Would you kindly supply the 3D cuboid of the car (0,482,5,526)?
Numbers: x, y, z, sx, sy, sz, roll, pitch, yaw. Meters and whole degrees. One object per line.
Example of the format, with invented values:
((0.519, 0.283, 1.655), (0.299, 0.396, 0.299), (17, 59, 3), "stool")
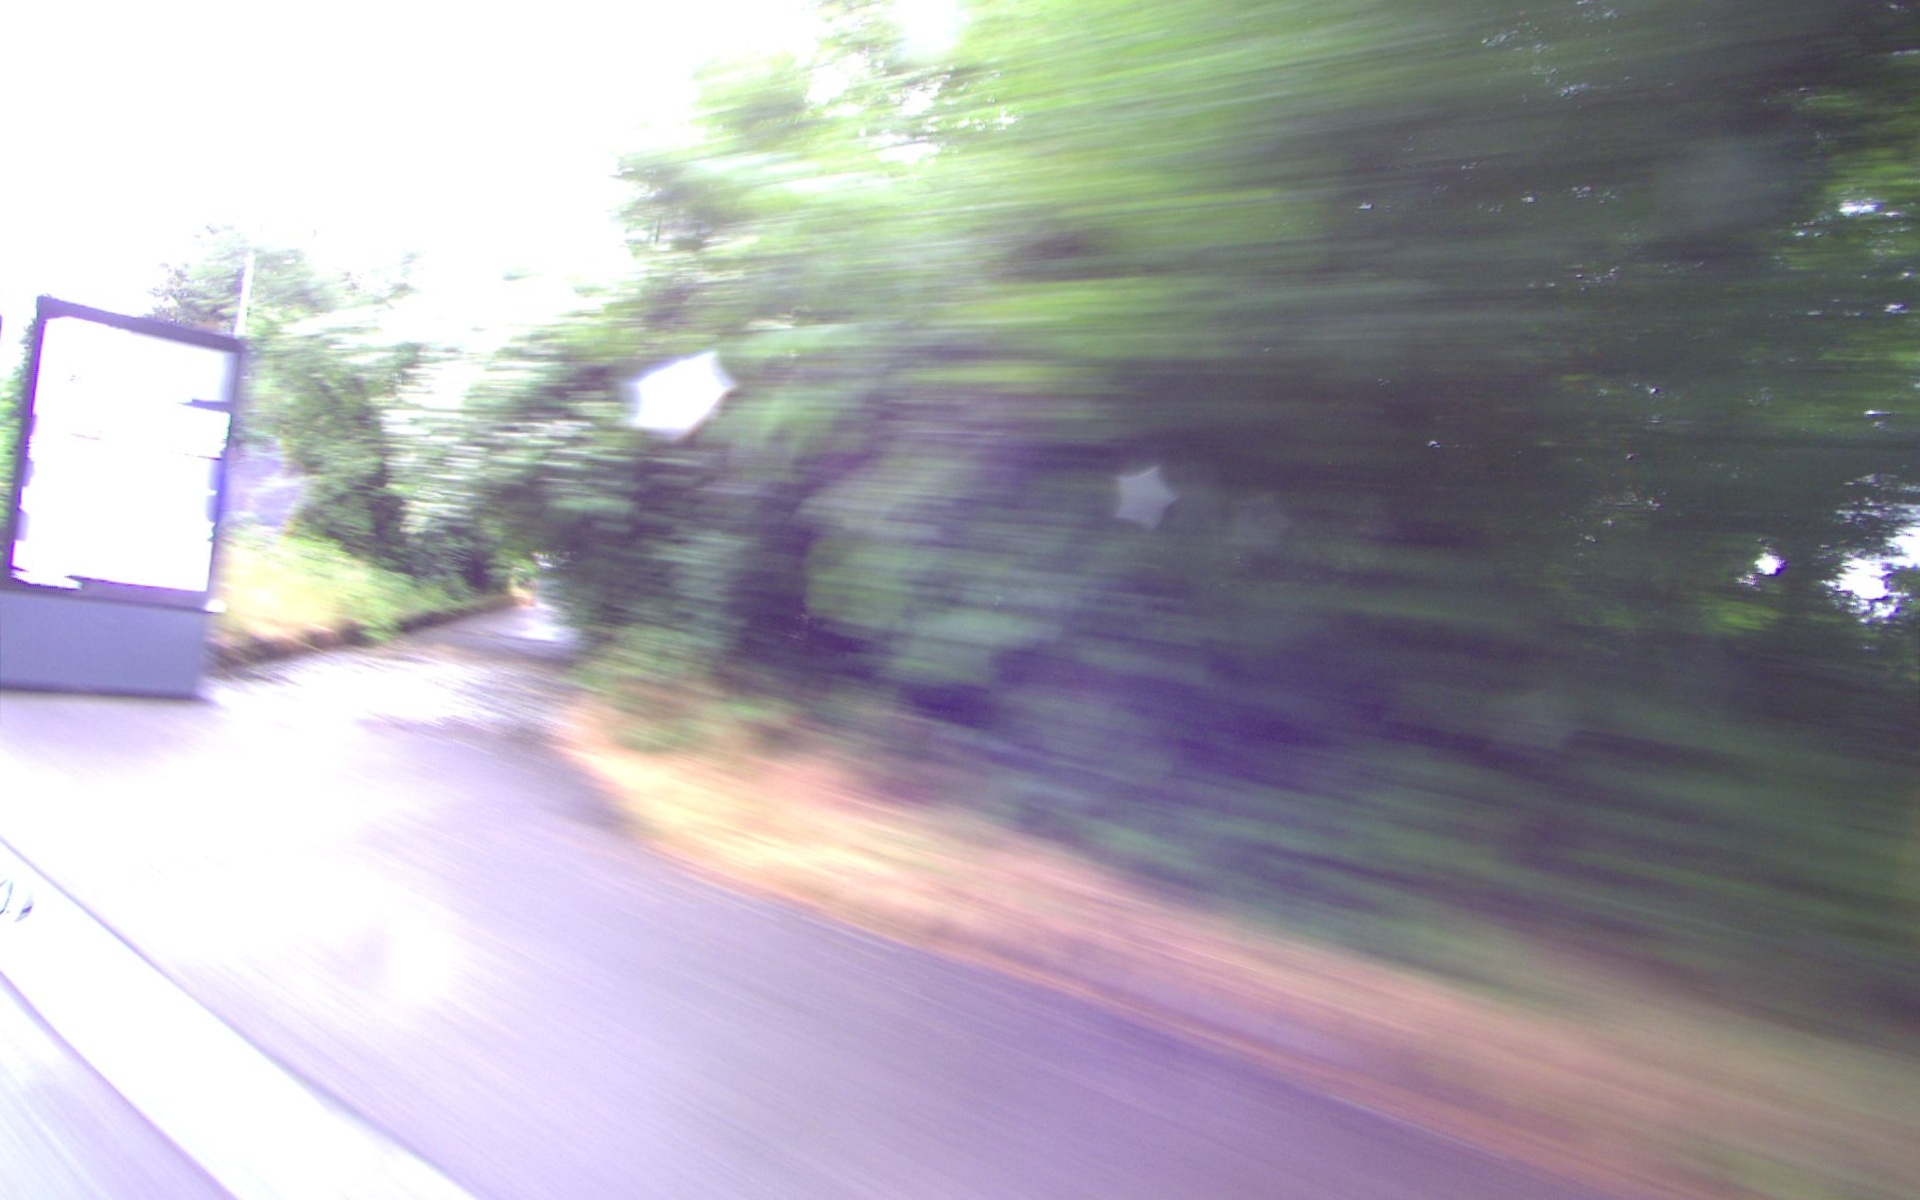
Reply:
((-27.288, -2.664, 26.901), (1.948, 1.443, 4.084), (7, -1, -37), "car")
